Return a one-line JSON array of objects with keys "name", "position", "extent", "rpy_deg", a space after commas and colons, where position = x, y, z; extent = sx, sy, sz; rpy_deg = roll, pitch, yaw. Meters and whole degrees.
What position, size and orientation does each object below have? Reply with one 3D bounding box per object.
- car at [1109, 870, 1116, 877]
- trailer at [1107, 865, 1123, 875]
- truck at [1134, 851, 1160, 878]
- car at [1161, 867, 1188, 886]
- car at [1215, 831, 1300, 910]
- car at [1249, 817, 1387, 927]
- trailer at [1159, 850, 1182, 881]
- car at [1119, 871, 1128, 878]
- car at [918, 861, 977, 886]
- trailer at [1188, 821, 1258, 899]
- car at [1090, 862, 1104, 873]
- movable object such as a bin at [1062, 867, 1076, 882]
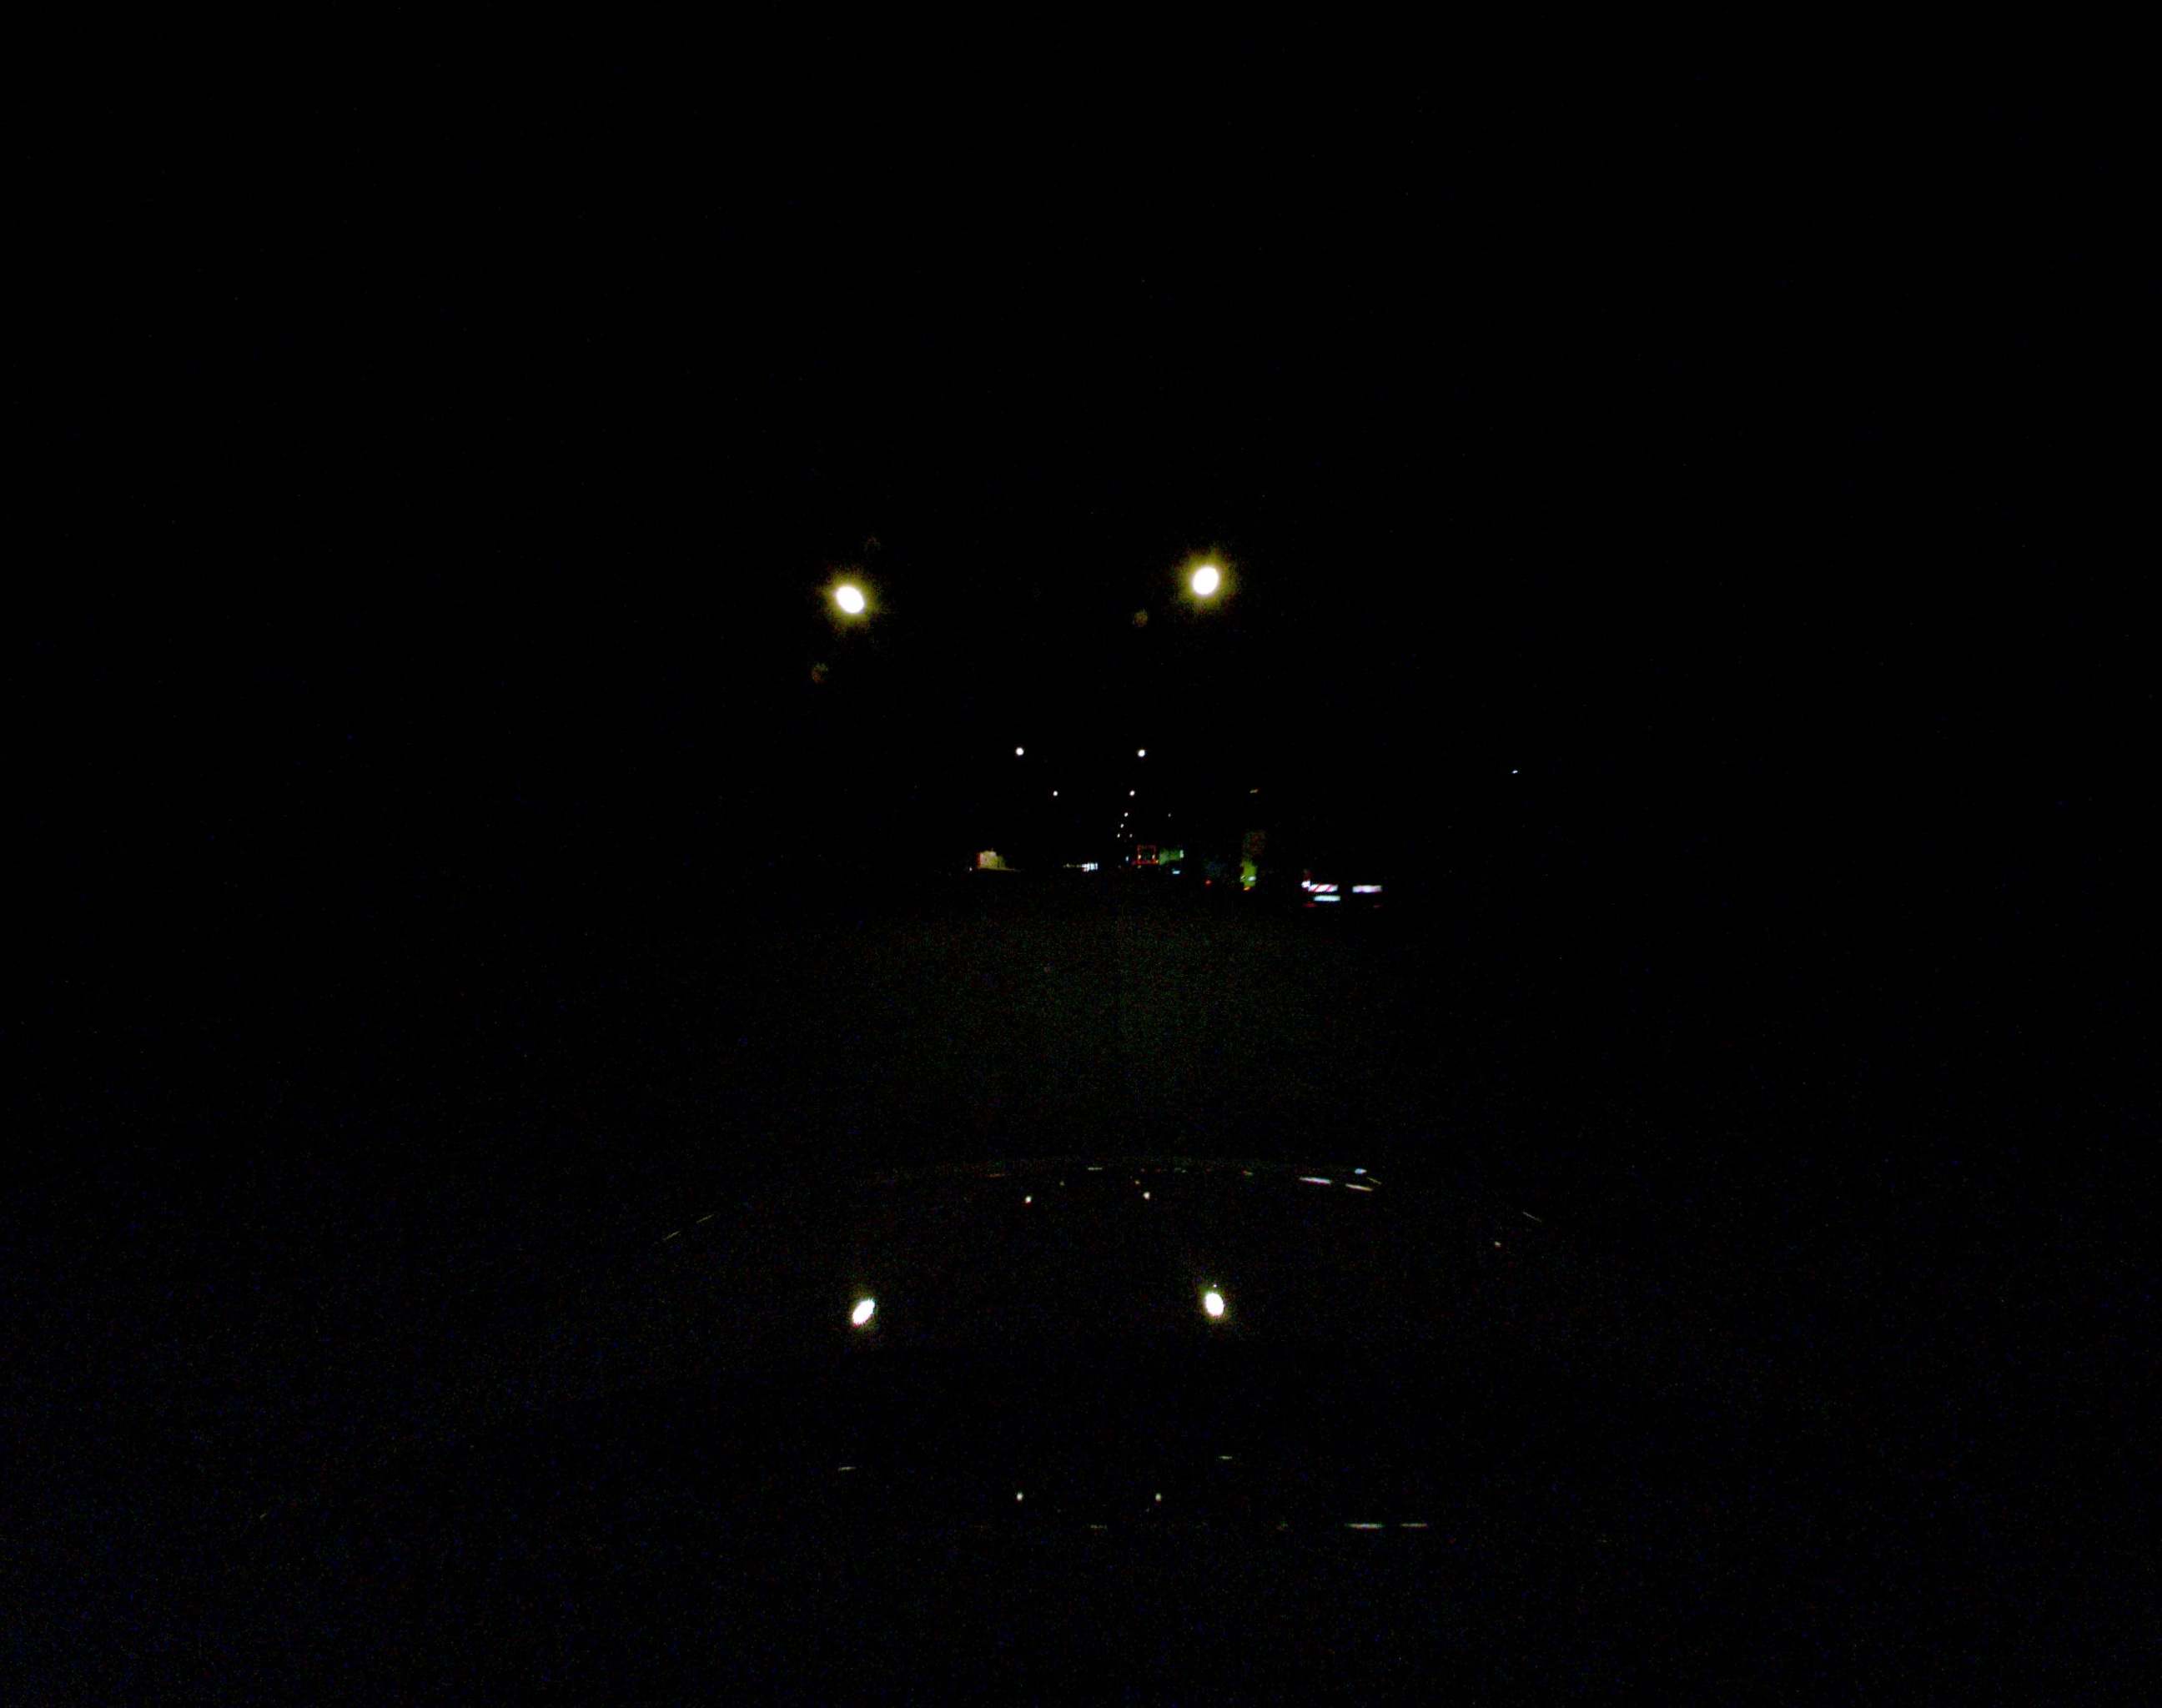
[{"name": "car", "position": [8.318, 5.139, 213.065], "extent": [1.713, 1.661, 4.002], "rpy_deg": [0, -2, 3]}, {"name": "trailer", "position": [8.301, 3.995, 198.000], "extent": [1.567, 2.161, 5.177], "rpy_deg": [-2, -2, -25]}, {"name": "truck", "position": [9.702, 1.559, 120.712], "extent": [3.311, 3.869, 9.331], "rpy_deg": [-1, -1, 2]}, {"name": "car", "position": [7.549, 1.797, 66.294], "extent": [1.720, 1.386, 4.676], "rpy_deg": [0, 0, 1]}, {"name": "car", "position": [6.279, 0.566, 29.773], "extent": [1.933, 2.548, 6.650], "rpy_deg": [0, -1, 3]}, {"name": "car", "position": [6.110, 0.444, 21.886], "extent": [1.987, 2.548, 6.025], "rpy_deg": [0, -1, 0]}, {"name": "trailer", "position": [7.894, 0.979, 72.169], "extent": [1.984, 2.651, 4.005], "rpy_deg": [0, -1, 5]}, {"name": "car", "position": [12.528, 6.054, 241.620], "extent": [1.707, 1.821, 4.017], "rpy_deg": [-1, -2, 17]}, {"name": "car", "position": [-10.917, 1.595, 66.804], "extent": [4.415, 1.972, 2.001], "rpy_deg": [0, -1, 1]}, {"name": "trailer", "position": [6.346, 0.286, 37.001], "extent": [2.391, 3.326, 4.361], "rpy_deg": [0, -1, -1]}, {"name": "car", "position": [4.911, 4.090, 249.933], "extent": [2.500, 3.171, 7.167], "rpy_deg": [-3, -2, 16]}, {"name": "movable object such as a bin", "position": [-2.087, 3.454, 137.770], "extent": [1.553, 2.467, 2.821], "rpy_deg": [-2, -2, -19]}]
